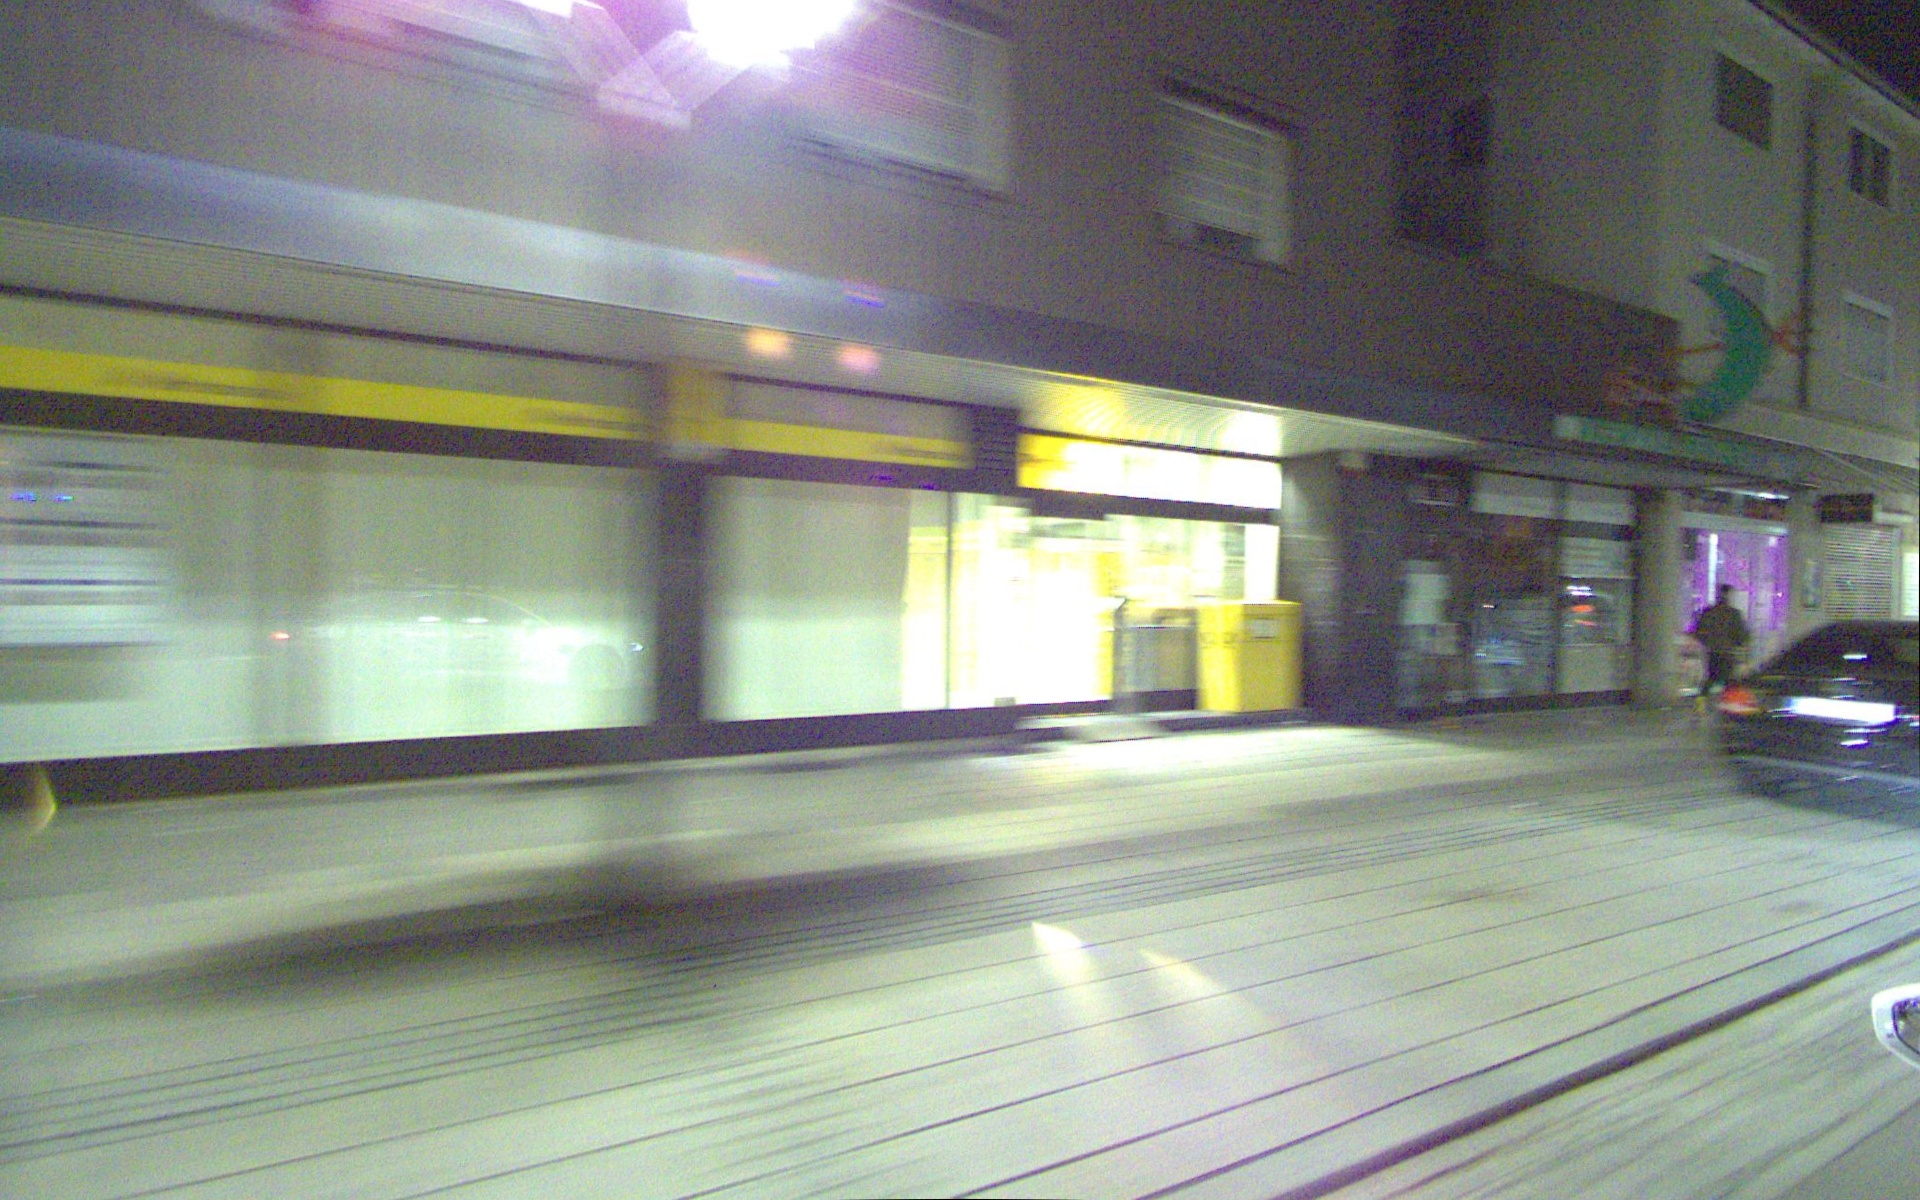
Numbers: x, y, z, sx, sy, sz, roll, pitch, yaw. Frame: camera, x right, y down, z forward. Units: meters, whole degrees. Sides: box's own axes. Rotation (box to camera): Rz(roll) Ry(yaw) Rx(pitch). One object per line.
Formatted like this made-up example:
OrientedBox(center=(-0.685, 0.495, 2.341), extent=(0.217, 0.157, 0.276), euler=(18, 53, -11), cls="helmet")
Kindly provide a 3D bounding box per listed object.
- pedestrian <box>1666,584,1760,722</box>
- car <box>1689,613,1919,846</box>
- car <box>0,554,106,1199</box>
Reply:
OrientedBox(center=(9.990, 0.681, 13.324), extent=(1.011, 1.769, 0.618), euler=(1, 1, -30), cls="pedestrian")
OrientedBox(center=(7.804, 0.883, 7.900), extent=(4.333, 1.432, 1.708), euler=(1, 1, -30), cls="car")
OrientedBox(center=(-3.844, 0.607, 1.010), extent=(4.272, 1.498, 1.788), euler=(2, 1, -31), cls="car")
